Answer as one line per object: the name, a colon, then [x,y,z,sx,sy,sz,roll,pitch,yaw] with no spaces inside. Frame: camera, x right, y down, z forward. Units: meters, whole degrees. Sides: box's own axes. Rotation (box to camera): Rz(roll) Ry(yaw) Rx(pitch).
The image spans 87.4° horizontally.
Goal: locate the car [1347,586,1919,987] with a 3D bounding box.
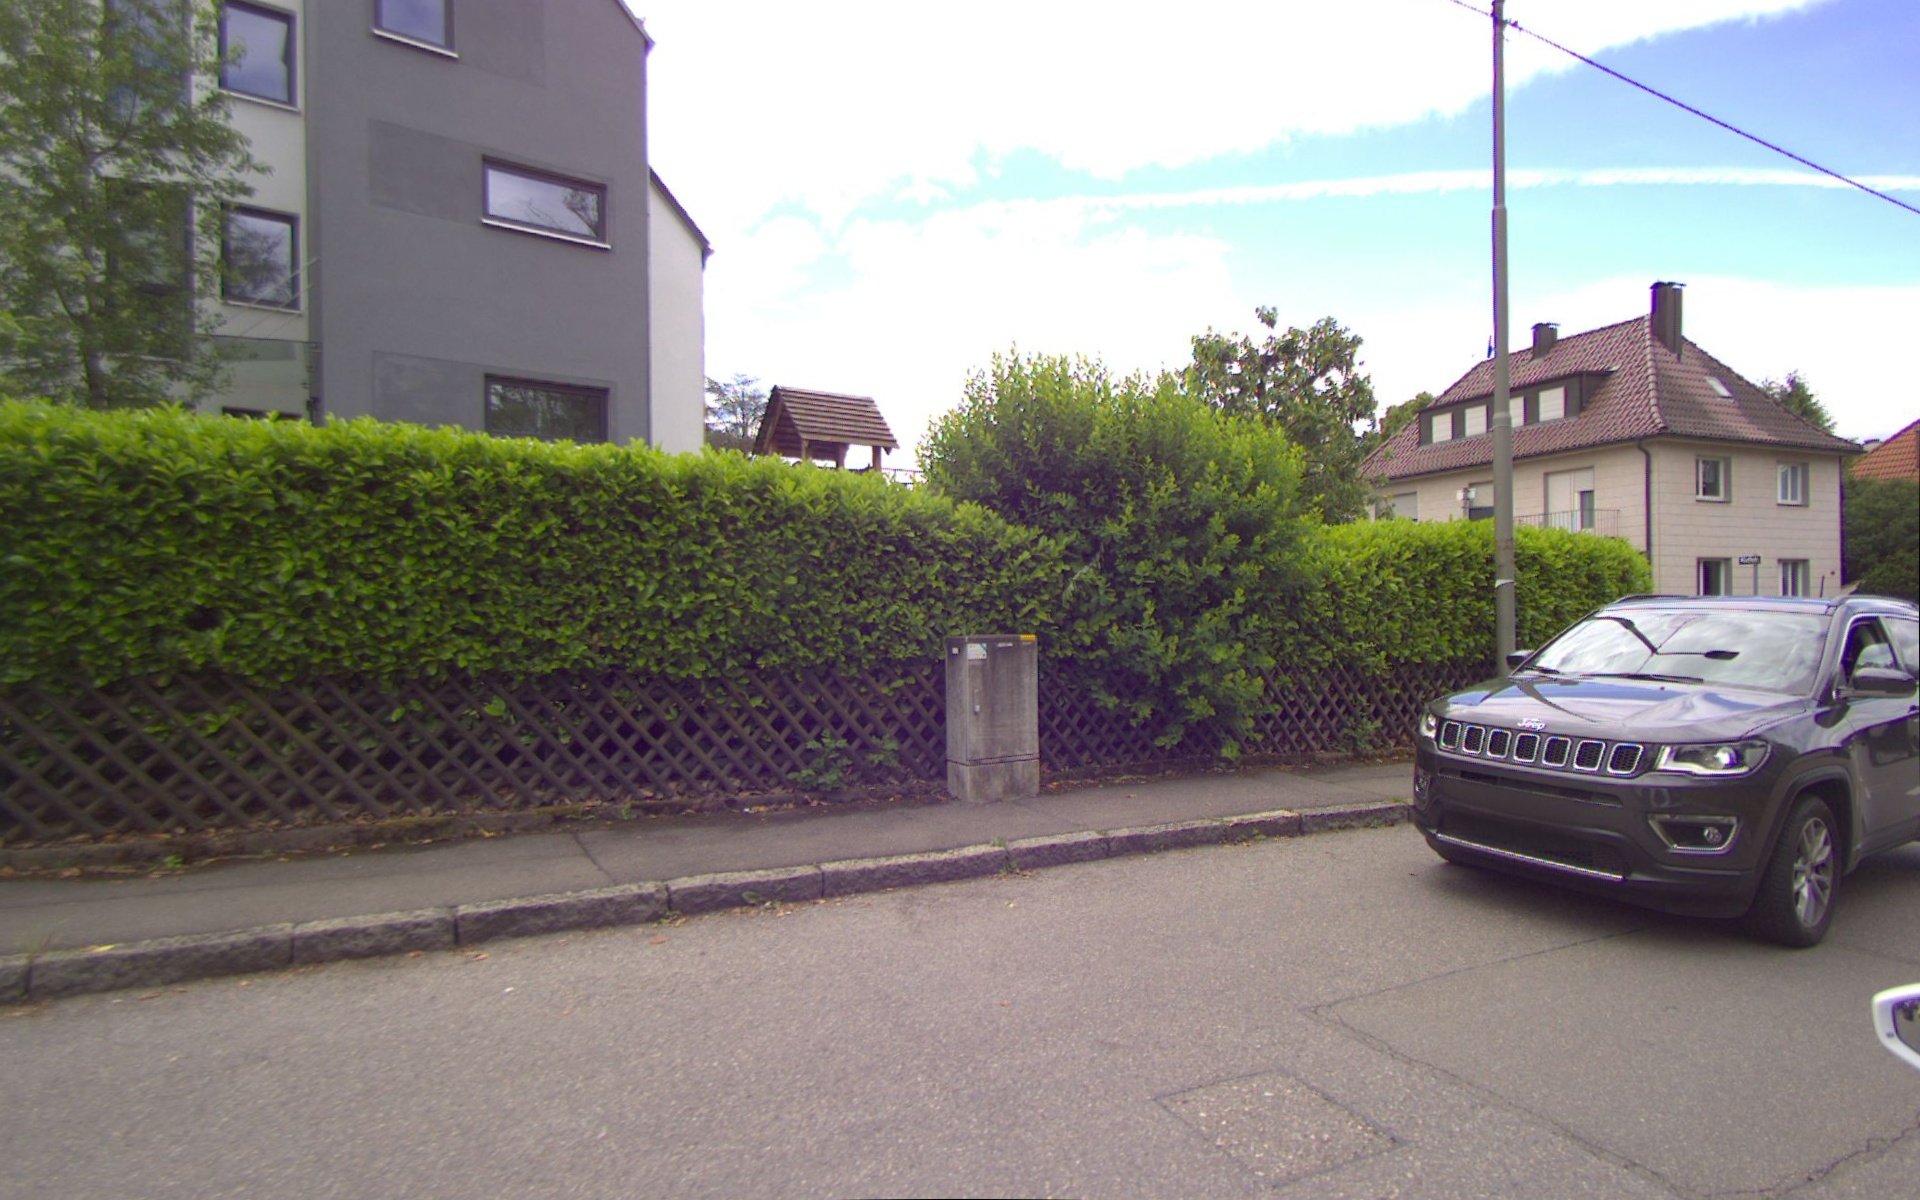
car: [4.456,0.769,5.952,4.274,1.618,1.824,1,0,-31]
